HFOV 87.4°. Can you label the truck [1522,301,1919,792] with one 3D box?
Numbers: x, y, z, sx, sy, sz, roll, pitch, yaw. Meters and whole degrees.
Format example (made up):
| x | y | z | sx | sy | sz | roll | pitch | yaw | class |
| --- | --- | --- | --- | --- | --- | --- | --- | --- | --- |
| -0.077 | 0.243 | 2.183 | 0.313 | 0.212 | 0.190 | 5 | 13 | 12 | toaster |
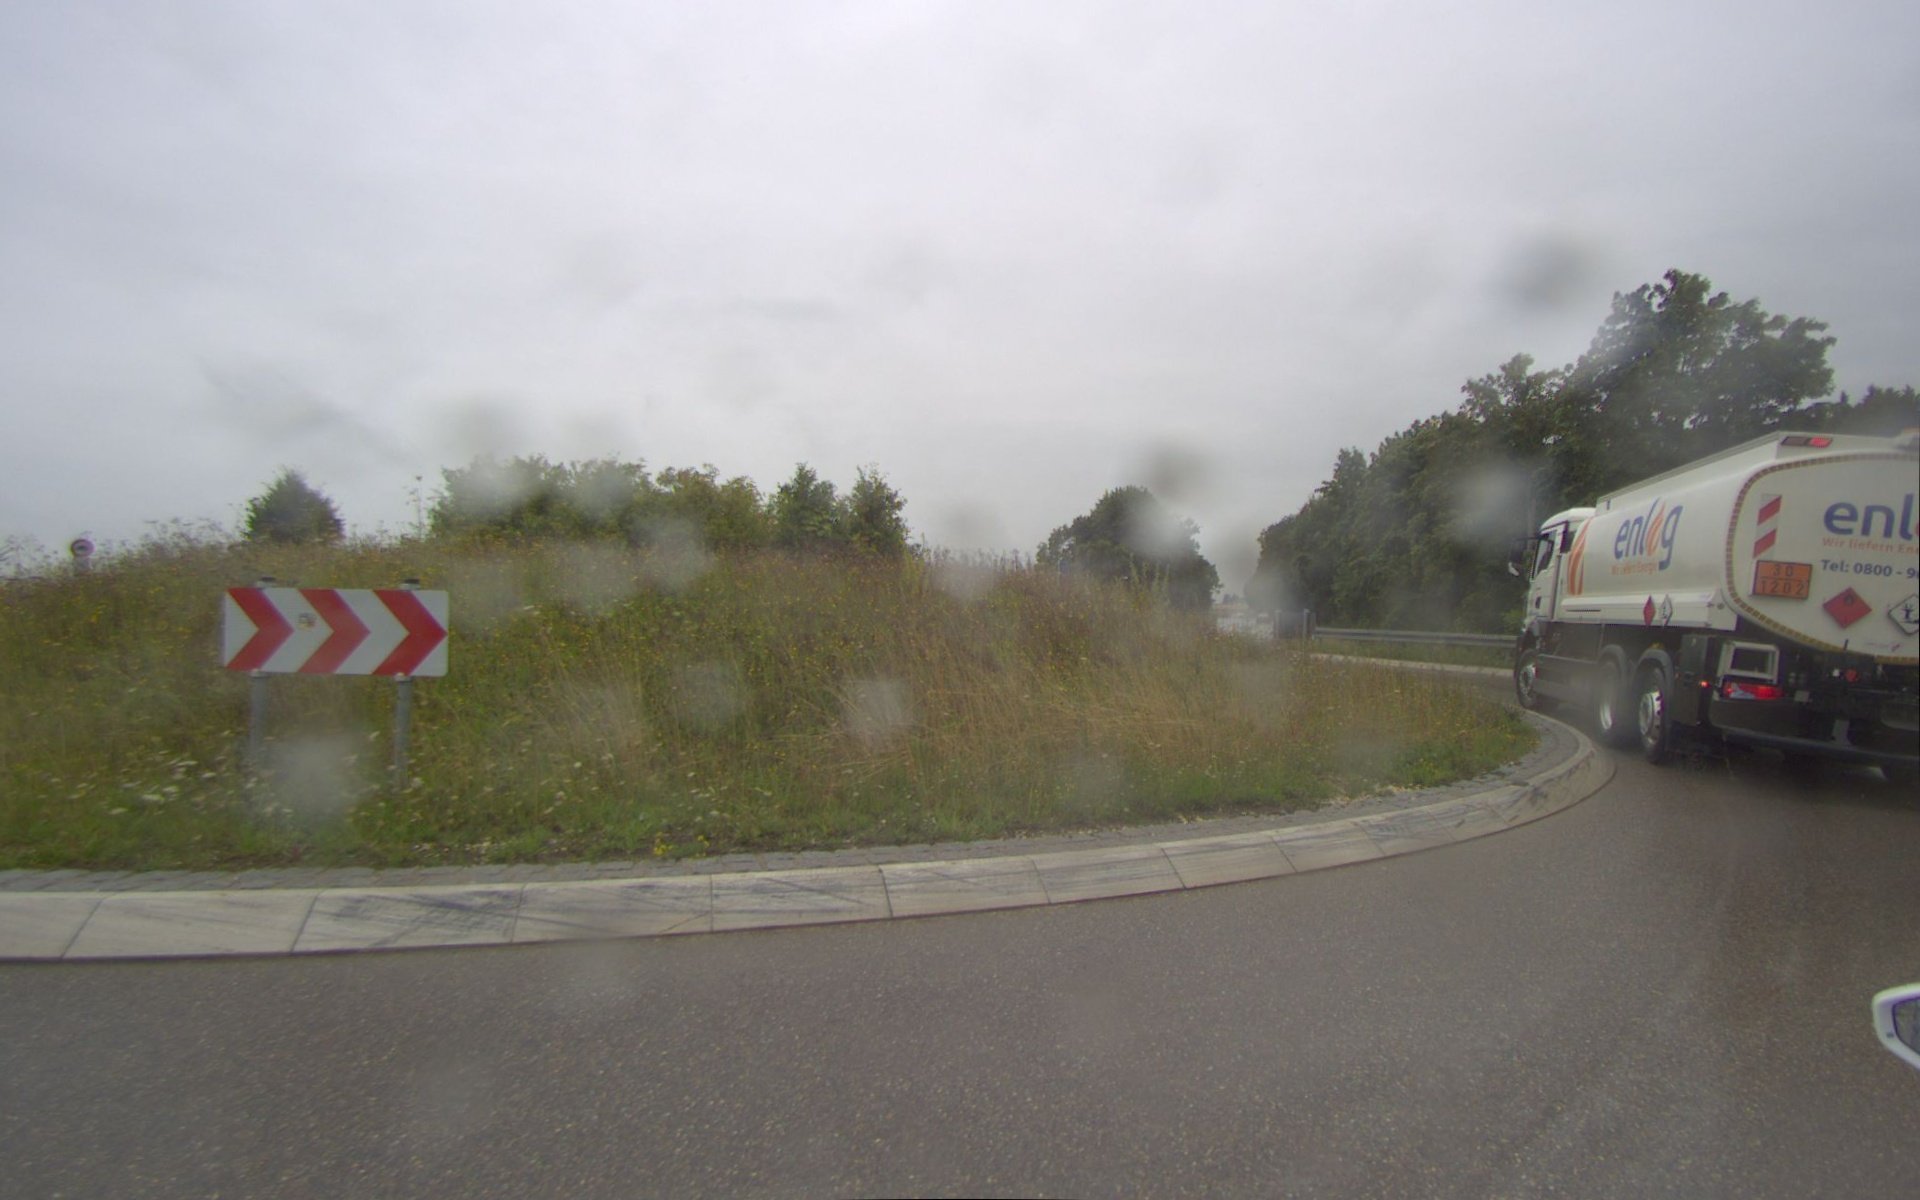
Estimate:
| x | y | z | sx | sy | sz | roll | pitch | yaw | class |
| --- | --- | --- | --- | --- | --- | --- | --- | --- | --- |
| 9.232 | -0.434 | 12.107 | 2.990 | 3.903 | 8.819 | 2 | 1 | 22 | truck |
